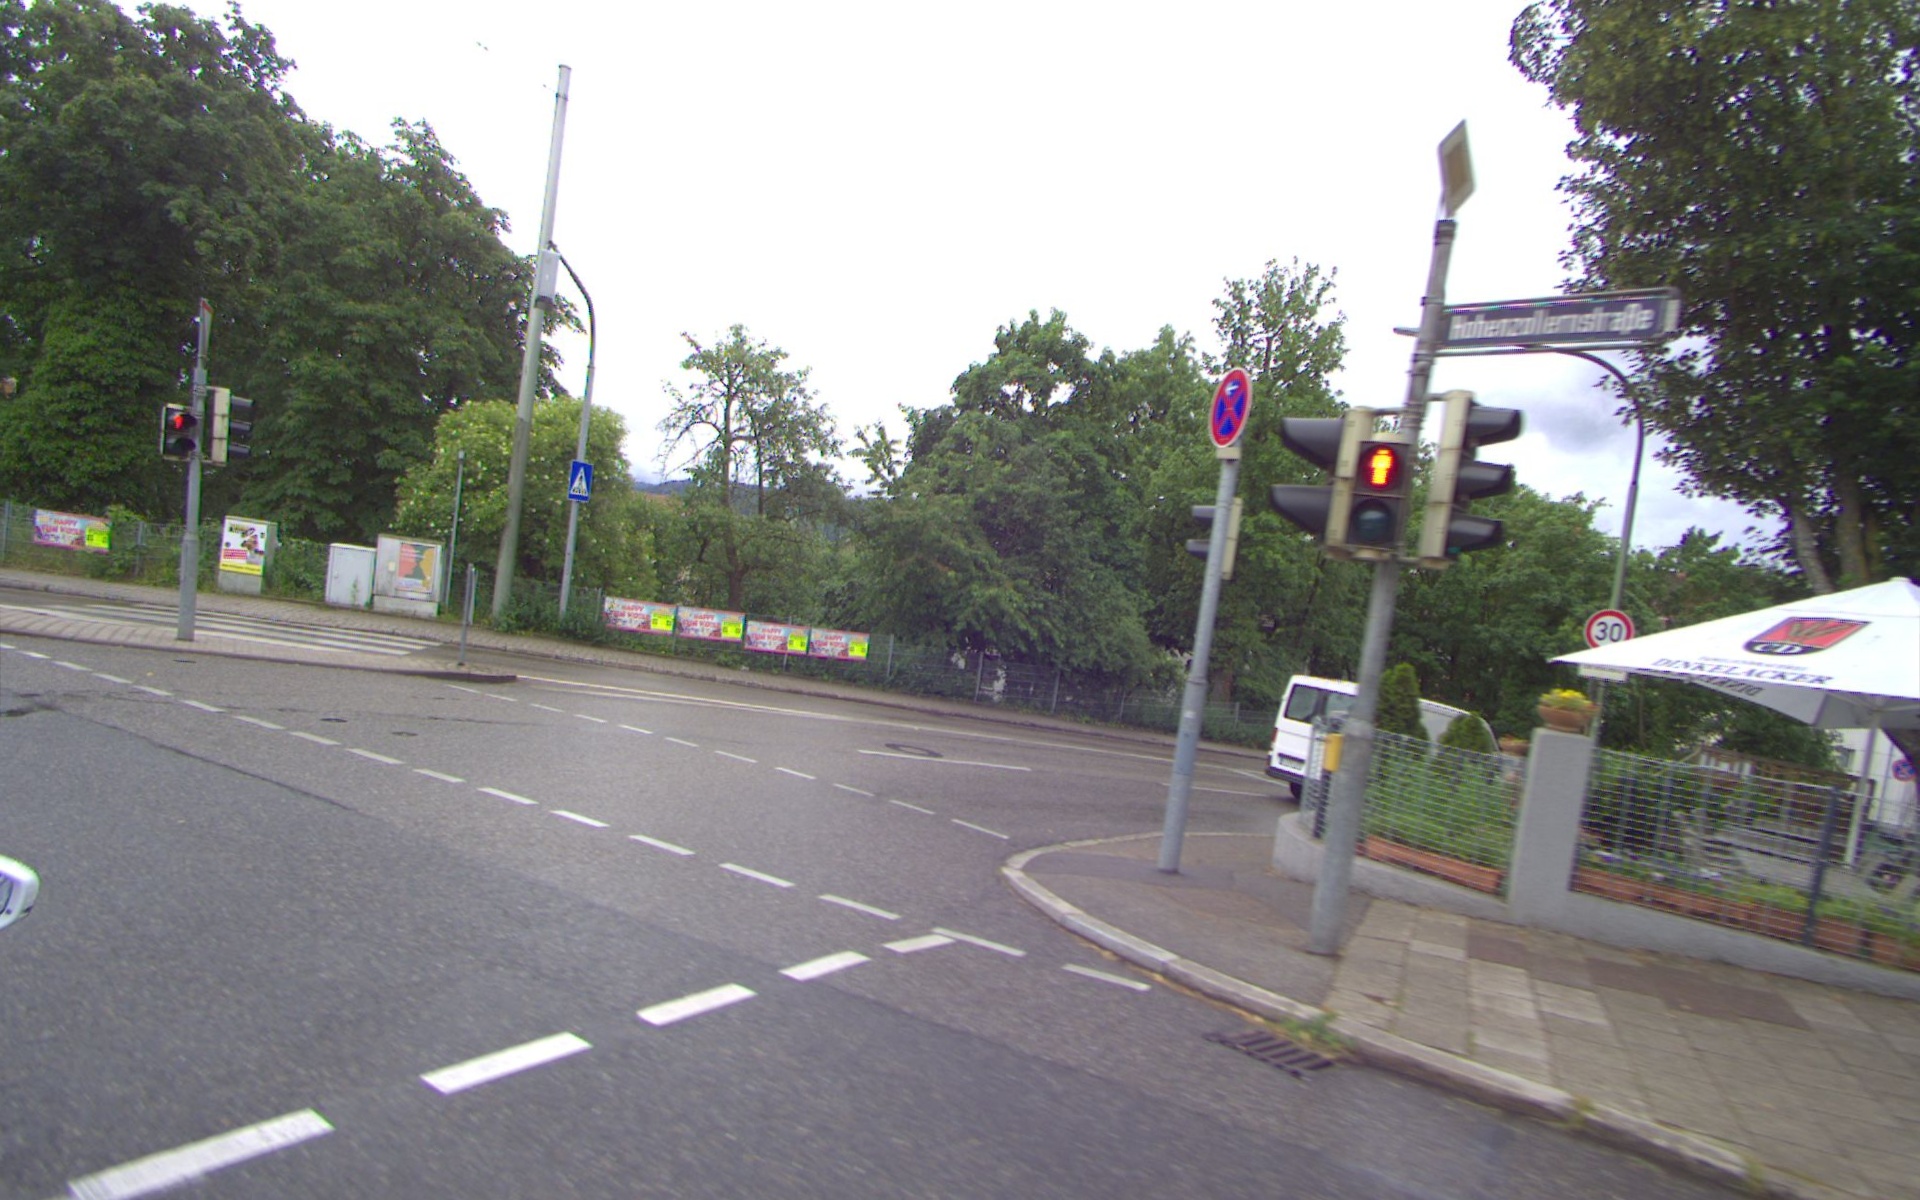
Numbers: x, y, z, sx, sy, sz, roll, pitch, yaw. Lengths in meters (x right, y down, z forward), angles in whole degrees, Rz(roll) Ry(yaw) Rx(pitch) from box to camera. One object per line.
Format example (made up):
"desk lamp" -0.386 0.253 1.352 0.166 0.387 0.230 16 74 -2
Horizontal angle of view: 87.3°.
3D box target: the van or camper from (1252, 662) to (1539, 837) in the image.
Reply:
"van or camper" 8.258 2.862 18.867 5.374 2.352 2.090 12 -1 -34

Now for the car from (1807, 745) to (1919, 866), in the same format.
"car" 14.487 3.162 14.616 3.095 1.514 1.637 7 -4 37
